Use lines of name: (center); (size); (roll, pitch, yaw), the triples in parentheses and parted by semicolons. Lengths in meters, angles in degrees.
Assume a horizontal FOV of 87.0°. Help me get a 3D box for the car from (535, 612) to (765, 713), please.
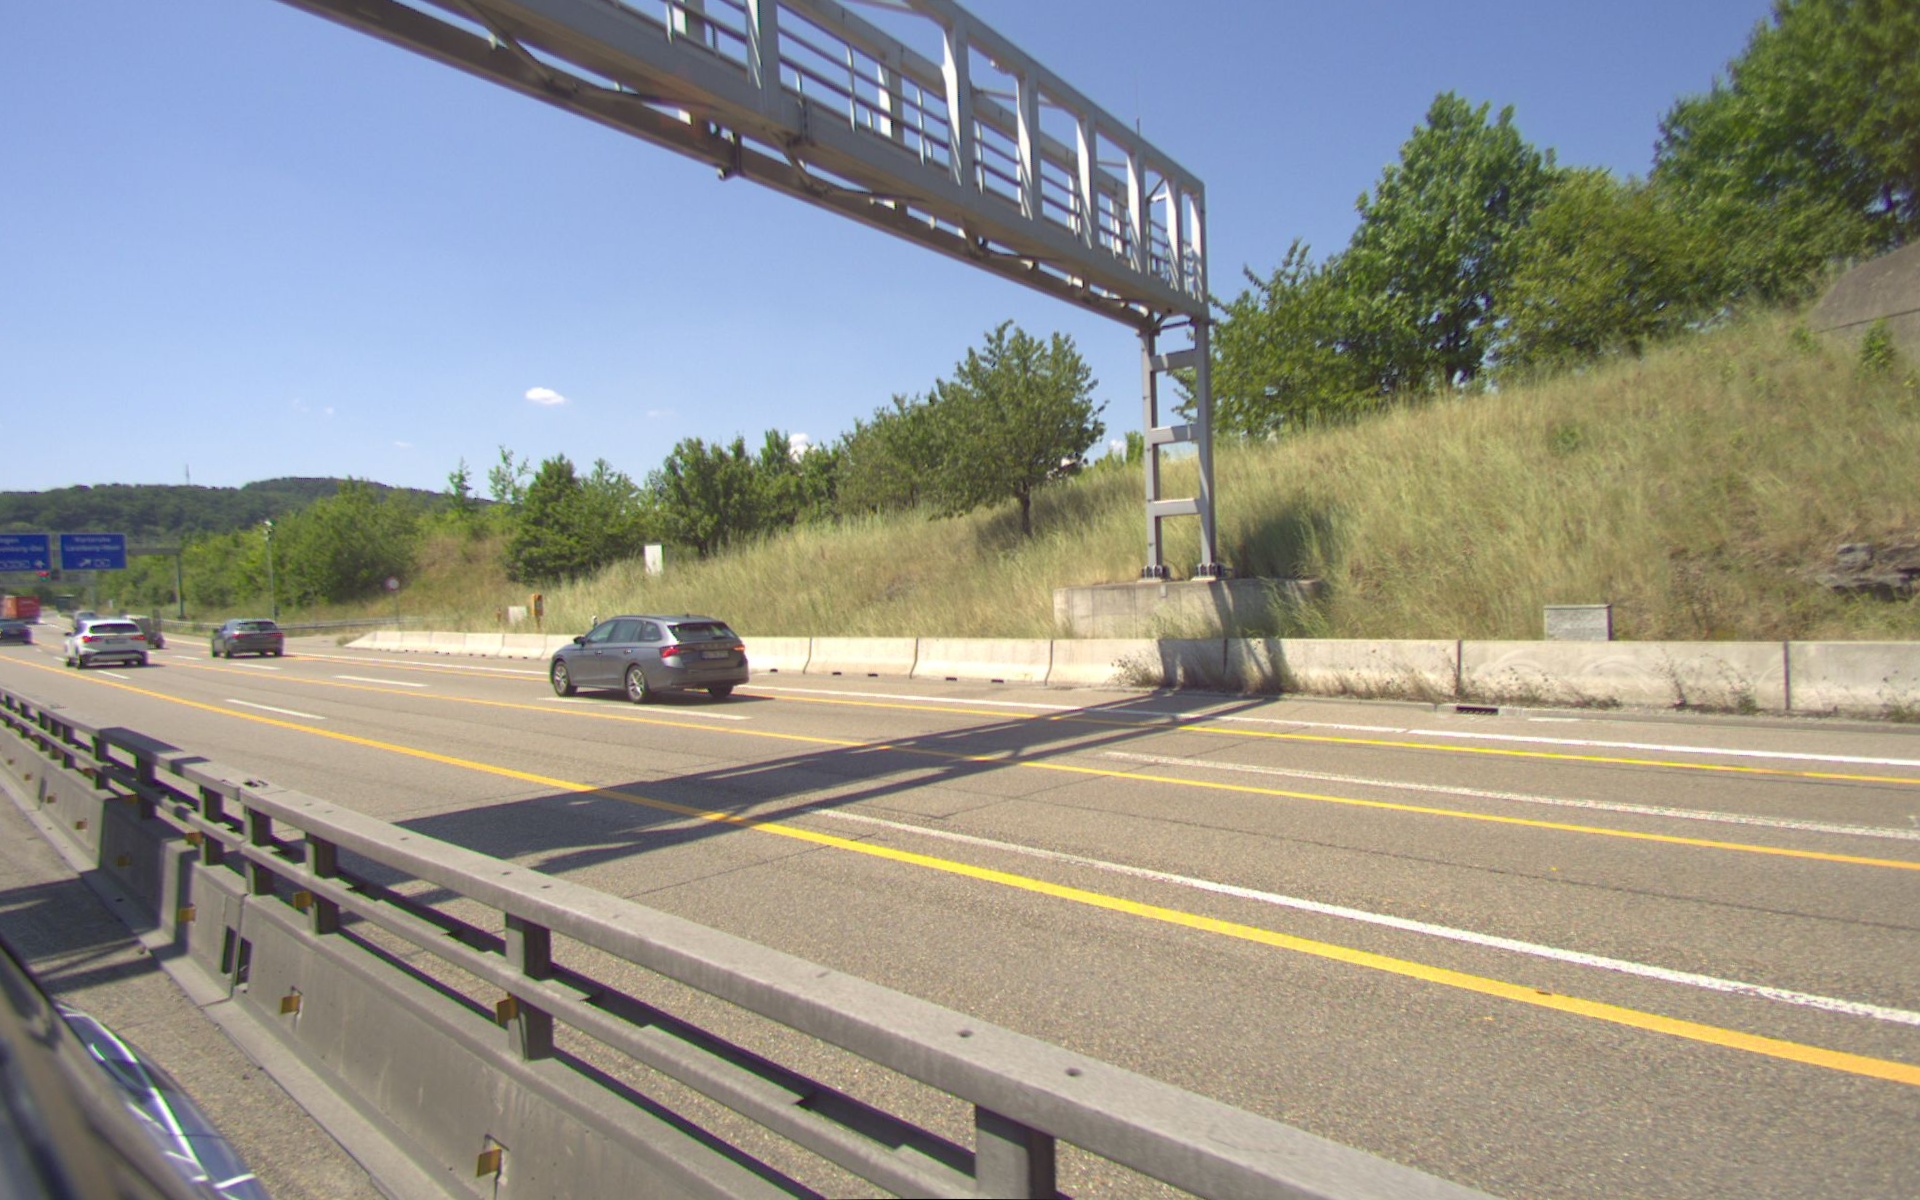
car: (-5.506, 1.034, 17.636); (4.563, 1.527, 1.754); (-2, -2, 43)

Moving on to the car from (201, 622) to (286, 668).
car: (-28.290, 1.769, 39.895); (4.806, 1.679, 1.754); (-2, -2, 43)

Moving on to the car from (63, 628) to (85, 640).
car: (-104.603, 3.992, 119.480); (1.668, 1.405, 4.003); (0, -1, -44)

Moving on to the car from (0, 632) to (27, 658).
car: (-62.153, 2.925, 65.847); (4.985, 1.606, 1.754); (-2, -2, 42)

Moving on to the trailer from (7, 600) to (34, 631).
trailer: (-131.883, 2.197, 142.004); (2.311, 4.133, 13.269); (-2, 1, -45)

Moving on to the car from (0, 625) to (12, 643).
car: (-86.940, 3.046, 91.421); (4.229, 1.605, 1.723); (-2, -1, 44)

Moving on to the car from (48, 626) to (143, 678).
car: (-28.957, 1.722, 33.862); (4.443, 1.589, 1.755); (-2, -2, 41)

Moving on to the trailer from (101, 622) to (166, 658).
trailer: (-43.654, 2.102, 53.409); (5.522, 1.819, 1.925); (-2, -2, 43)

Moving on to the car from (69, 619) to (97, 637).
car: (-91.158, 2.883, 105.132); (4.787, 1.848, 1.669); (-1, -1, 43)
